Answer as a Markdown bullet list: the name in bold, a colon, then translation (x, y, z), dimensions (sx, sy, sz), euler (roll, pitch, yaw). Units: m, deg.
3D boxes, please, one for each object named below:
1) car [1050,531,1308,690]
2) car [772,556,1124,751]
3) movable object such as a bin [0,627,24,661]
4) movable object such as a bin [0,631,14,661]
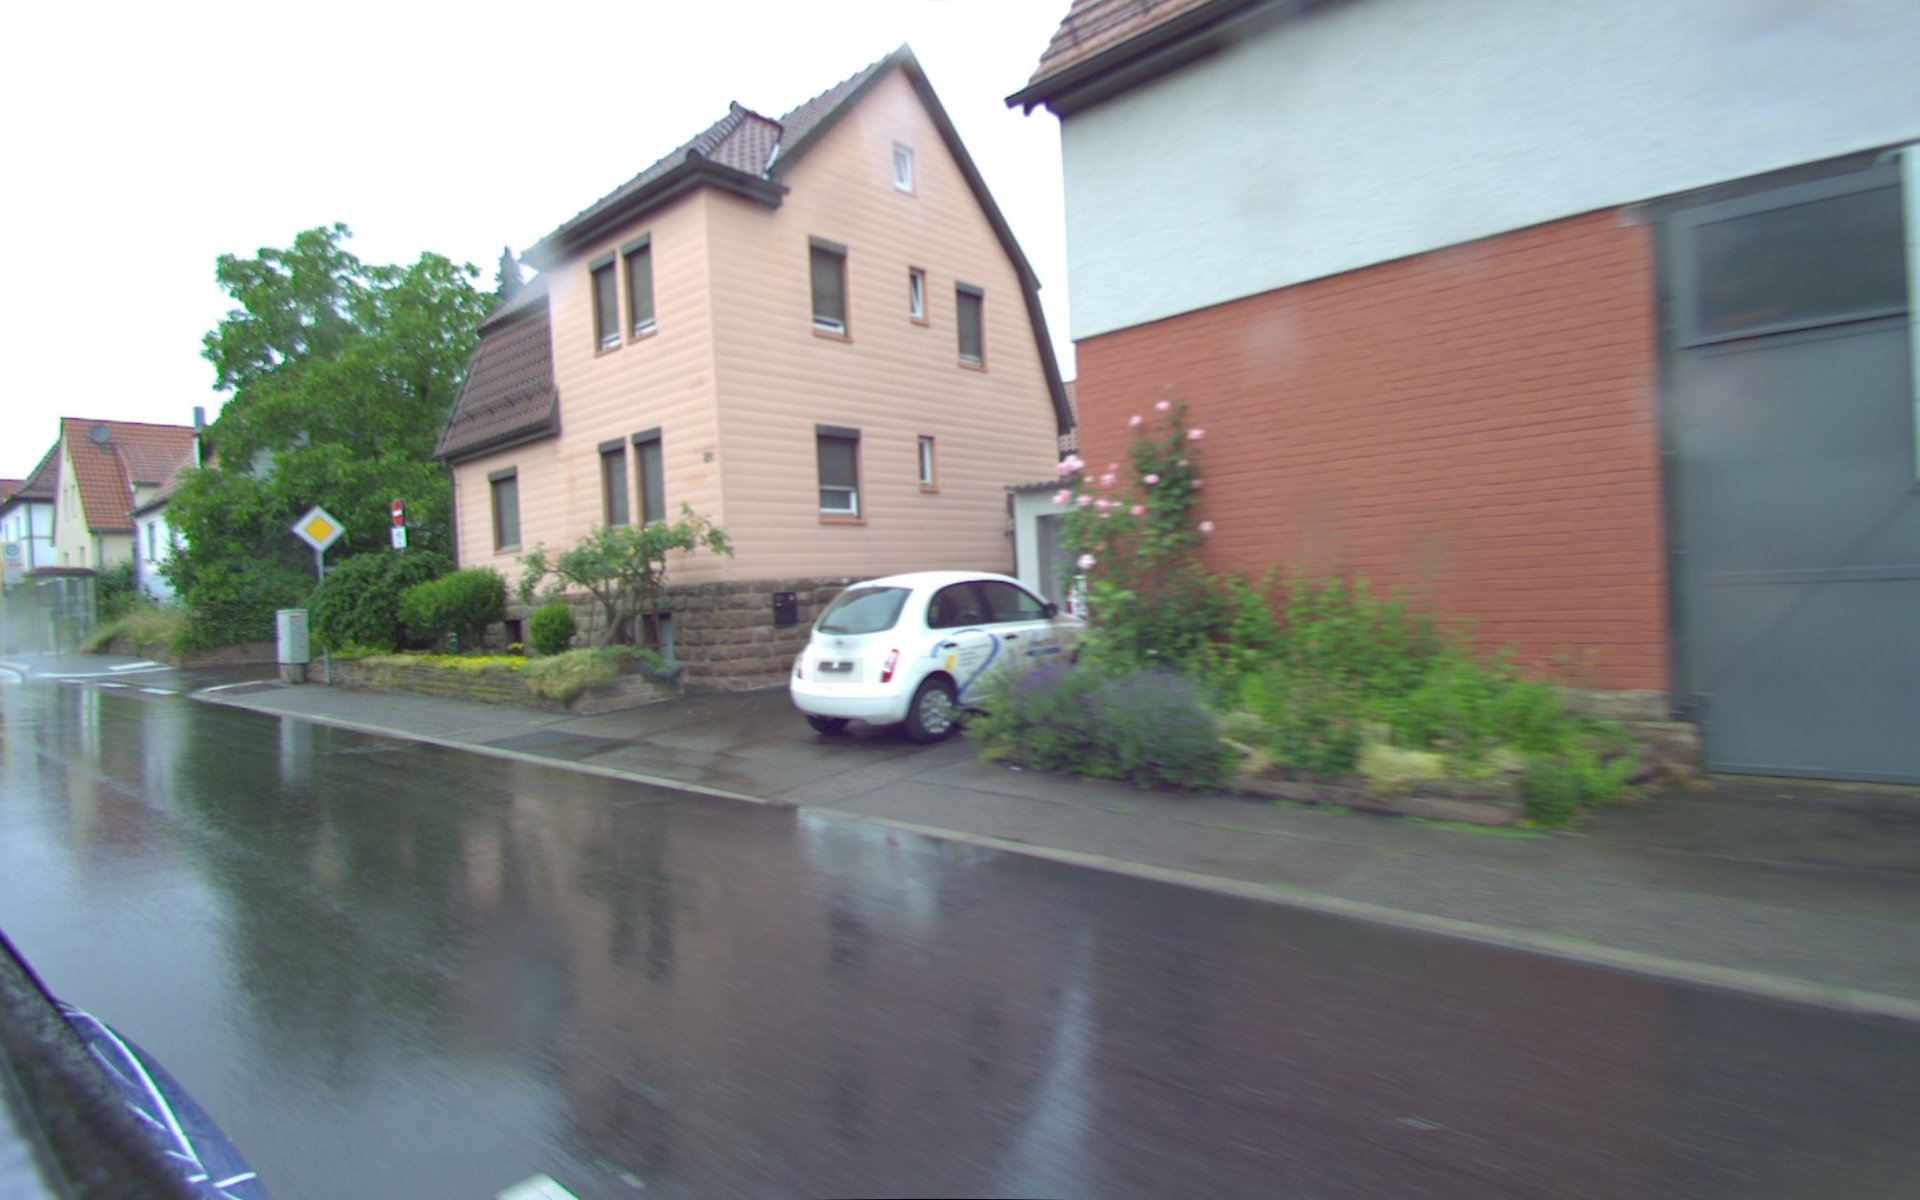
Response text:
- **car**: translation (3.093, 0.034, 13.737), dimensions (1.757, 1.776, 3.948), euler (-1, 3, 40)
- **car**: translation (0.016, 0.414, 10.440), dimensions (1.662, 1.540, 3.509), euler (-1, 3, 41)
- **movable object such as a bin**: translation (-32.396, 1.491, 34.516), dimensions (0.527, 1.090, 0.547), euler (-2, 4, 42)
- **movable object such as a bin**: translation (-32.214, 1.552, 34.040), dimensions (0.454, 0.945, 0.463), euler (-4, 2, 42)
